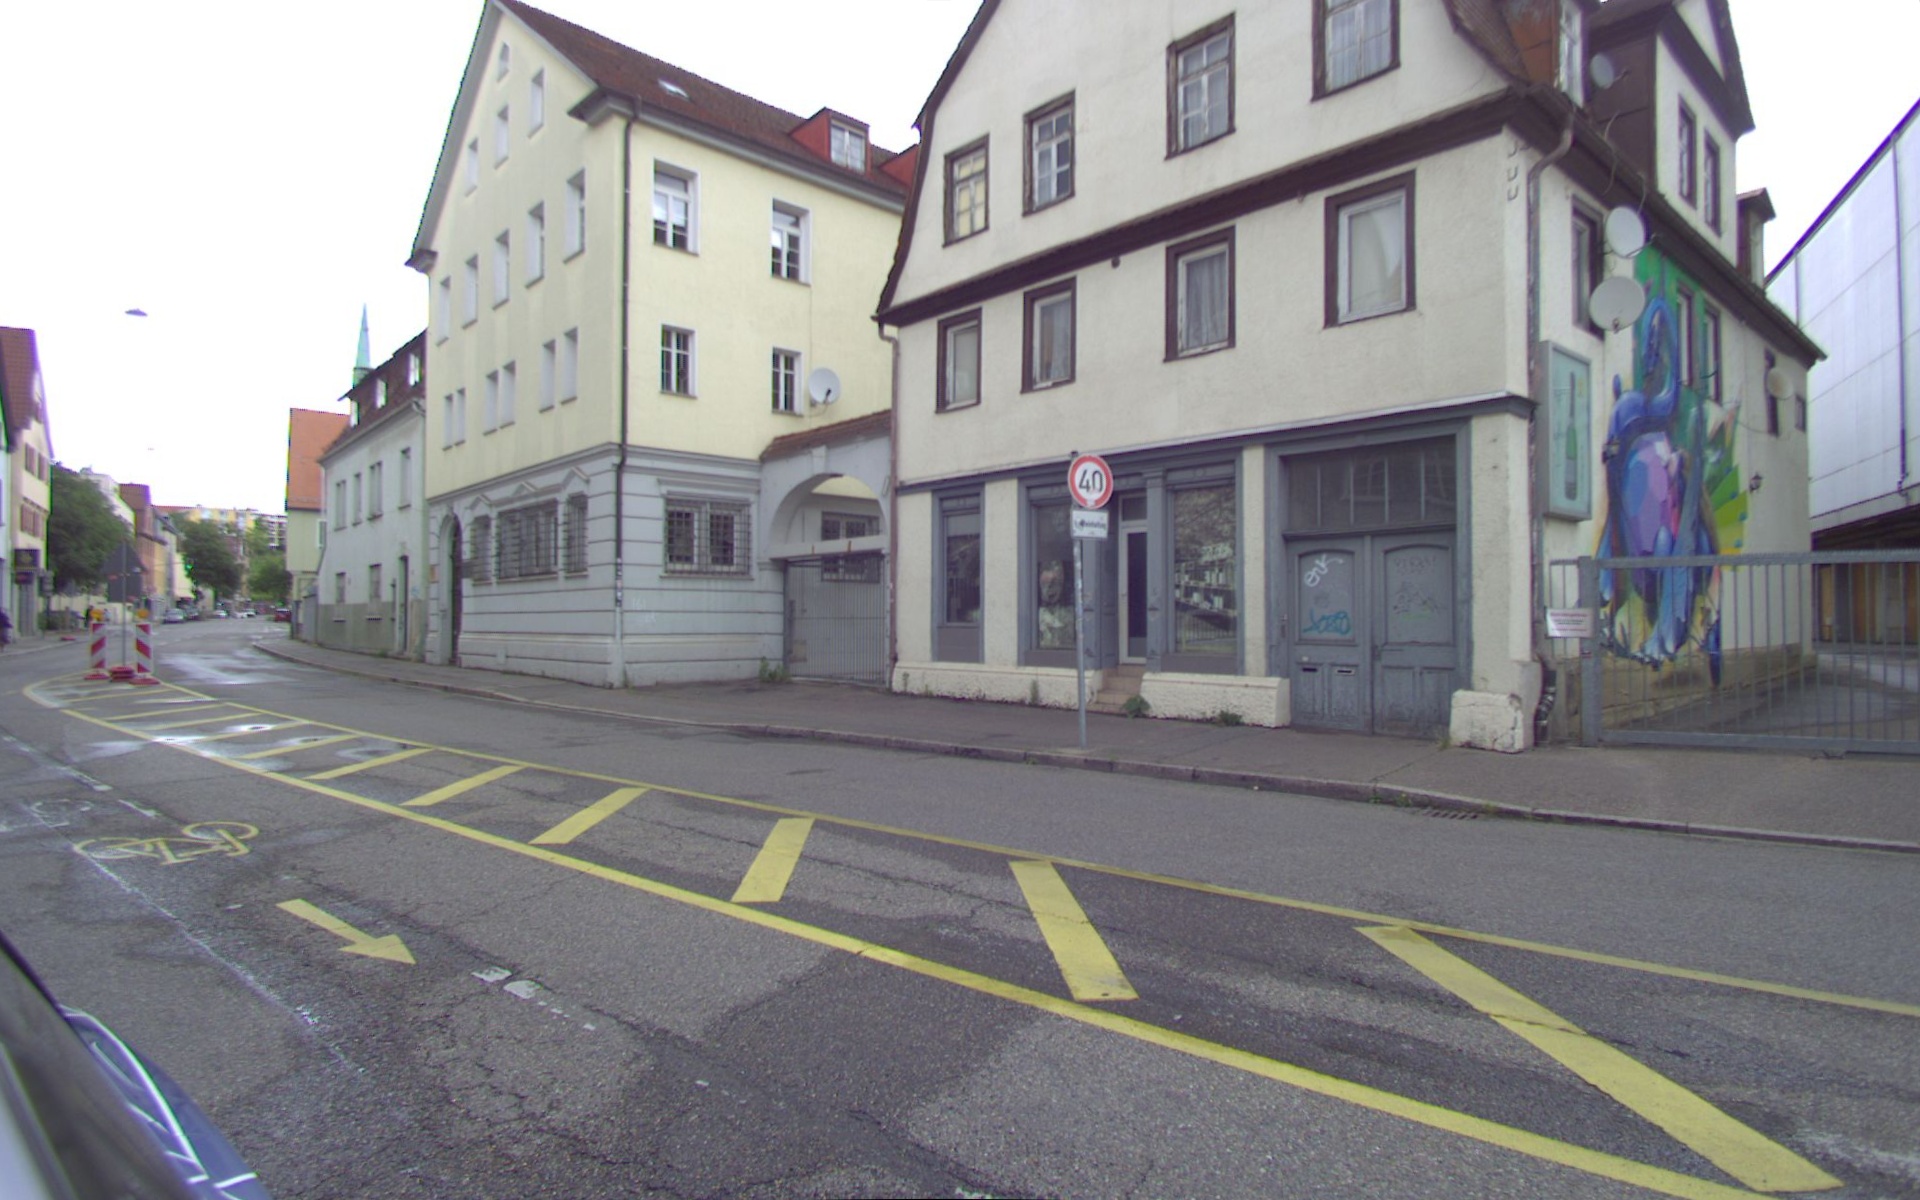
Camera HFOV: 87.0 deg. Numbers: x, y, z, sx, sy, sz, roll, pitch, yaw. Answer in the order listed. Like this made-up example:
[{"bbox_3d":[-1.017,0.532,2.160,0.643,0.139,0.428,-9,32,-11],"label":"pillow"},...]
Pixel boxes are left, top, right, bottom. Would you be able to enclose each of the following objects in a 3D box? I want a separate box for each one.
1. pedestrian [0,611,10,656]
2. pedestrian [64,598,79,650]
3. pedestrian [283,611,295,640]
[{"bbox_3d":[-34.854,1.225,36.549,0.714,1.626,0.650,0,-2,-36],"label":"pedestrian"},{"bbox_3d":[-43.706,1.178,49.796,0.487,2.547,0.747,1,-2,-38],"label":"pedestrian"},{"bbox_3d":[-42.776,1.636,64.520,0.583,1.793,0.506,1,-2,-27],"label":"pedestrian"}]
